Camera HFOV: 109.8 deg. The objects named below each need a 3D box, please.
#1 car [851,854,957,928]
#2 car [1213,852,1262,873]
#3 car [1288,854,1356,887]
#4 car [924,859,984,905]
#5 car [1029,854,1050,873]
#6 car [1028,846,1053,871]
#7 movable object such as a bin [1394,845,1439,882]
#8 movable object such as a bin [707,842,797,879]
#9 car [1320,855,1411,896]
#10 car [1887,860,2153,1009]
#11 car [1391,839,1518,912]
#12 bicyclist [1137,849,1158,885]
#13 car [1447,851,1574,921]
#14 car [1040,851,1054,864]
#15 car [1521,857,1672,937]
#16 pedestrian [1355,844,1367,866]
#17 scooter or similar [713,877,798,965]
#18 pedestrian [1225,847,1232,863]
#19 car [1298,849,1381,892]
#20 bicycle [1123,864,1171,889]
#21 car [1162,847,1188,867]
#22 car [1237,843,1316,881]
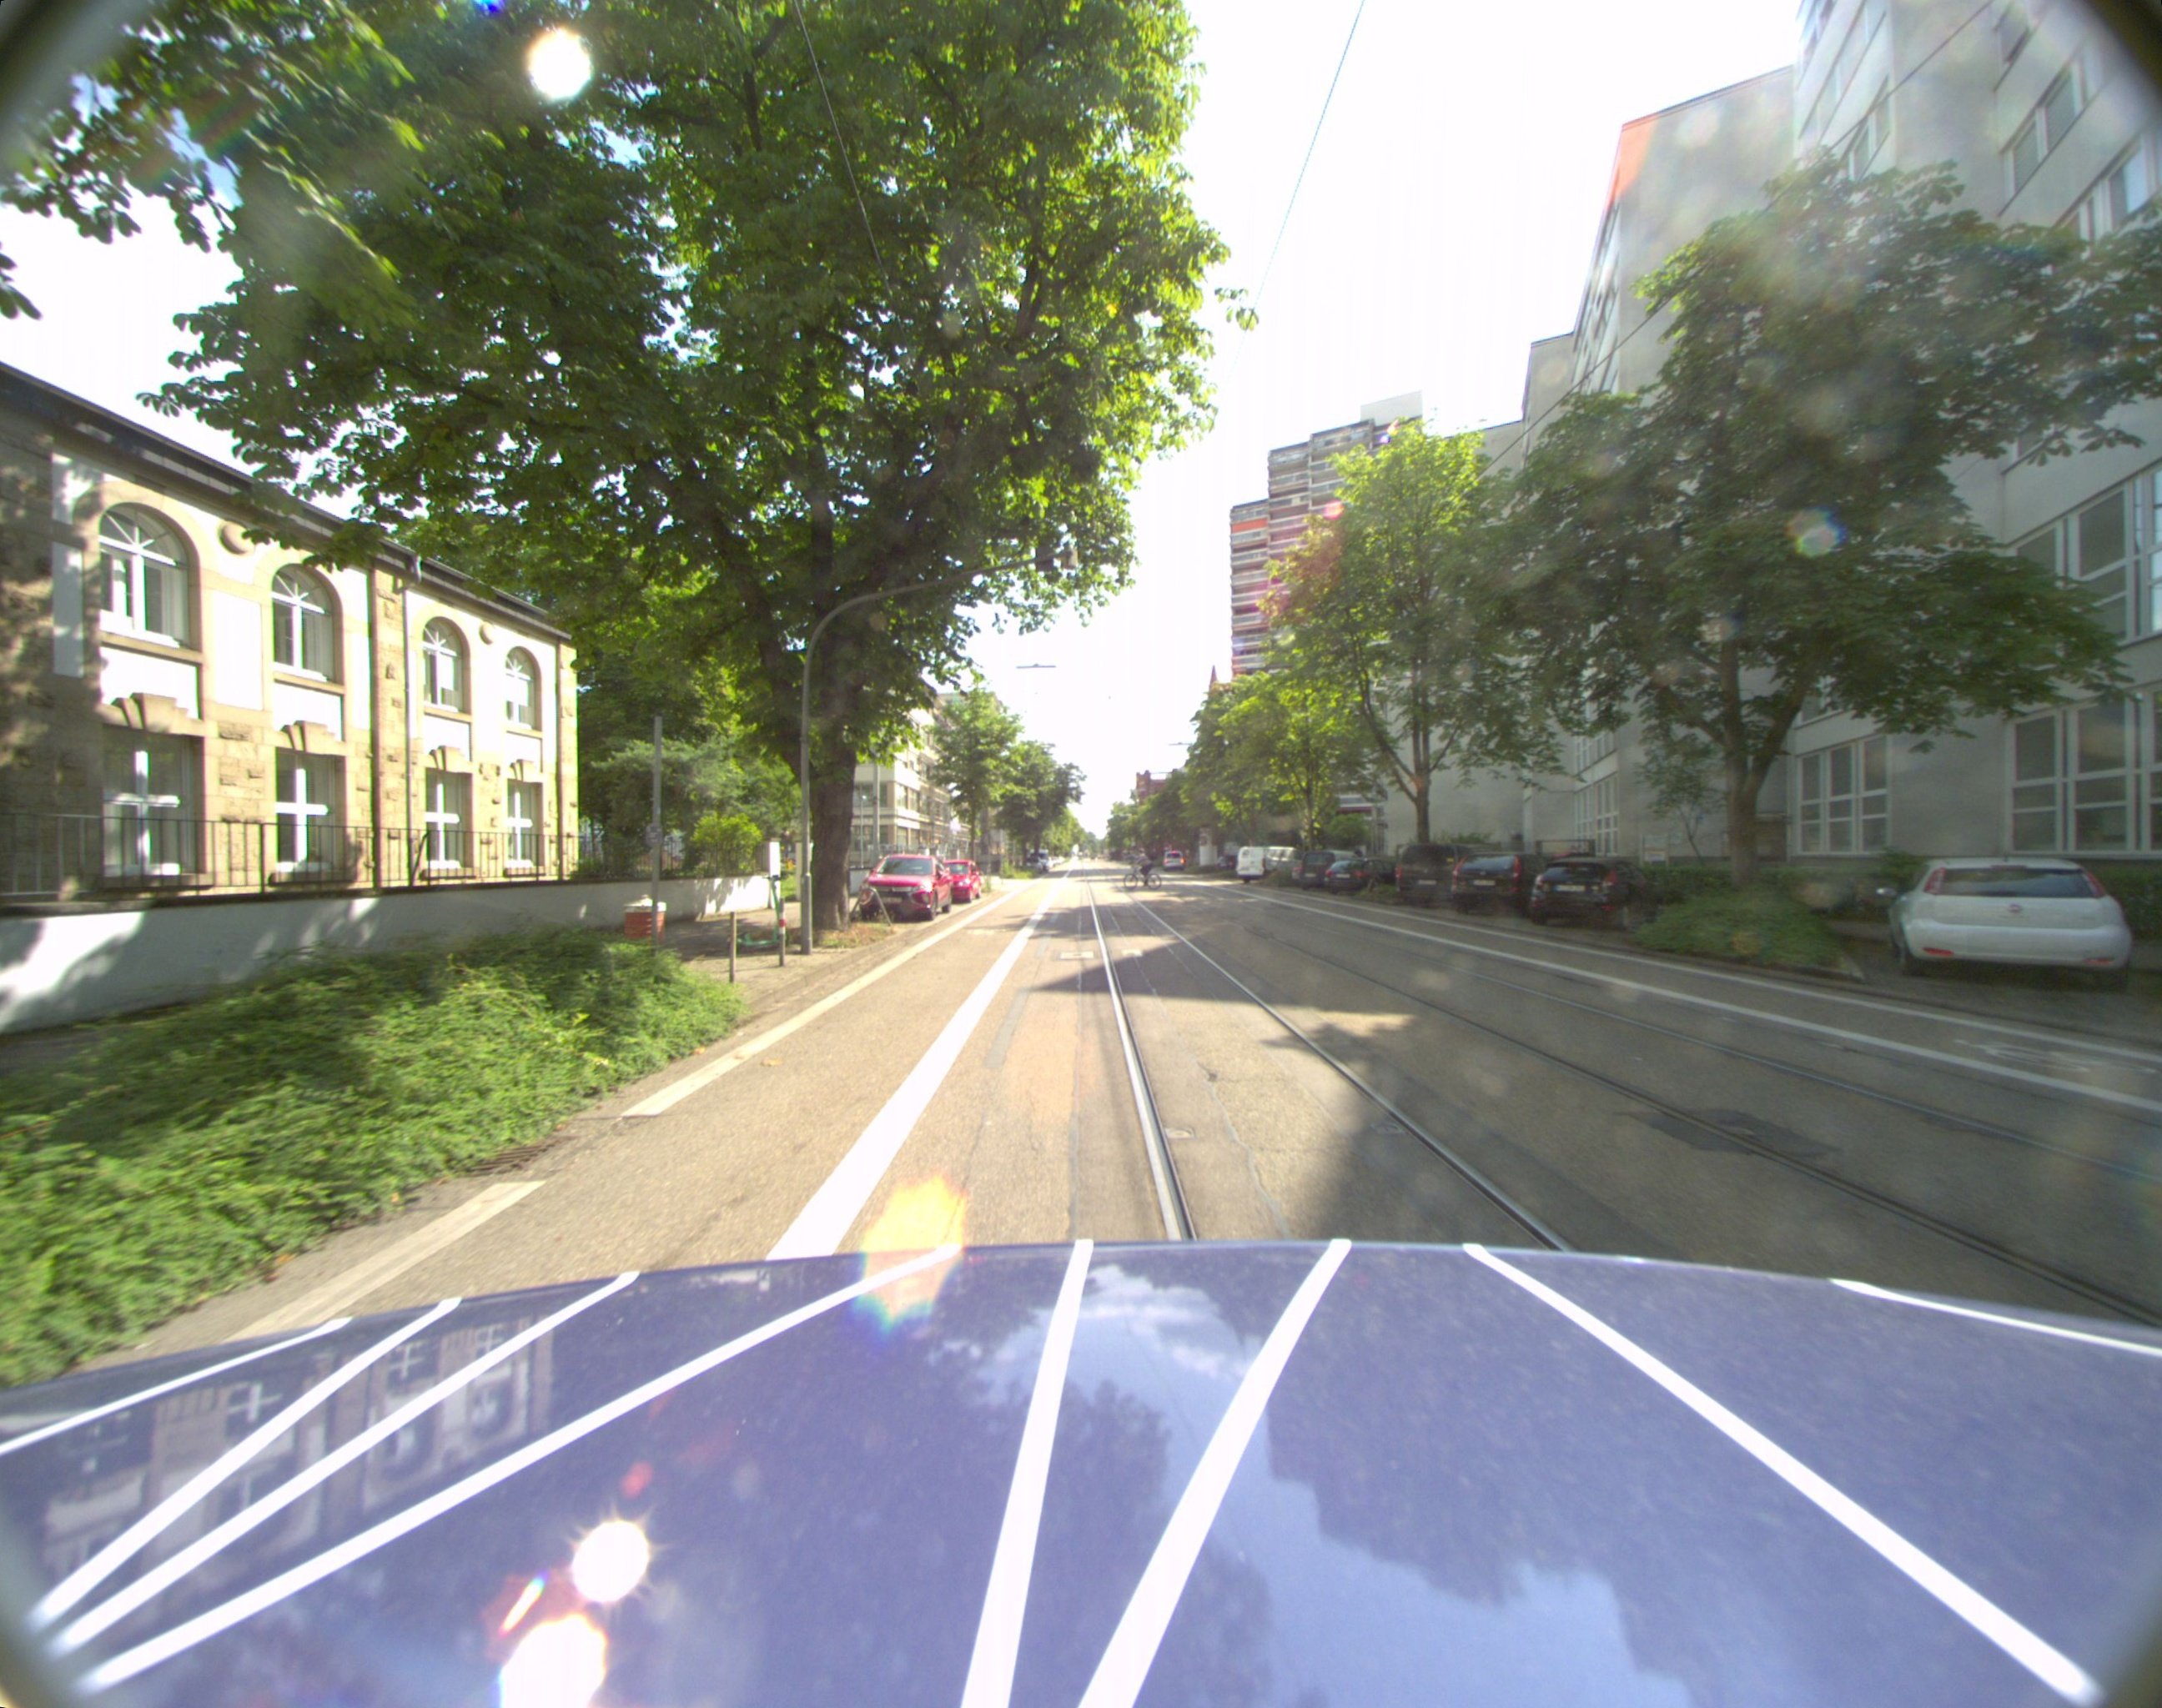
[{"bbox_3d":[-4.503,0.873,19.976,1.881,1.666,4.281,1,0,-2],"label":"car"},{"bbox_3d":[11.548,0.604,55.845,1.737,1.514,3.893,-1,0,44],"label":"car"},{"bbox_3d":[11.469,0.779,36.002,1.717,1.409,4.009,2,0,39],"label":"car"},{"bbox_3d":[-4.487,0.959,27.341,1.604,1.420,3.595,2,1,-2],"label":"car"},{"bbox_3d":[-3.956,0.903,72.634,1.750,1.597,4.235,-3,1,-1],"label":"car"},{"bbox_3d":[-4.355,0.418,83.130,2.337,2.545,5.389,-3,1,-1],"label":"car"},{"bbox_3d":[16.683,0.455,37.820,1.391,1.771,1.538,2,1,-4],"label":"movable object such as a bin"},{"bbox_3d":[-23.035,0.500,53.390,1.994,2.429,5.446,-1,-2,44],"label":"movable object such as a bin"},{"bbox_3d":[10.918,0.808,29.006,1.755,1.409,4.009,2,0,44],"label":"car"},{"bbox_3d":[11.676,0.868,9.724,1.692,1.475,3.816,2,1,45],"label":"car"},{"bbox_3d":[11.398,0.613,22.987,1.911,1.943,5.180,2,1,44],"label":"car"},{"bbox_3d":[2.939,0.551,33.381,0.740,1.567,0.644,1,1,25],"label":"bicyclist"},{"bbox_3d":[11.071,0.774,19.492,4.009,1.583,1.735,1,1,-44],"label":"car"},{"bbox_3d":[-4.591,0.514,102.766,1.750,1.597,4.235,-3,1,-1],"label":"car"},{"bbox_3d":[11.118,0.853,16.289,4.009,1.475,1.736,1,0,-42],"label":"car"},{"bbox_3d":[21.050,0.079,57.100,0.642,1.615,0.661,-2,2,-8],"label":"pedestrian"},{"bbox_3d":[-4.944,0.990,11.603,0.341,1.230,1.262,3,1,24],"label":"scooter or similar"},{"bbox_3d":[16.133,0.142,83.250,0.523,1.745,0.636,-1,3,24],"label":"pedestrian"},{"bbox_3d":[11.050,0.684,32.384,3.724,1.683,1.755,1,1,-43],"label":"car"},{"bbox_3d":[2.912,0.999,33.400,1.995,1.034,0.658,1,1,24],"label":"bicycle"},{"bbox_3d":[9.385,0.320,76.211,1.892,1.841,4.235,-3,1,-1],"label":"car"},{"bbox_3d":[10.867,0.398,42.085,4.696,1.985,1.963,0,0,-42],"label":"car"}]
